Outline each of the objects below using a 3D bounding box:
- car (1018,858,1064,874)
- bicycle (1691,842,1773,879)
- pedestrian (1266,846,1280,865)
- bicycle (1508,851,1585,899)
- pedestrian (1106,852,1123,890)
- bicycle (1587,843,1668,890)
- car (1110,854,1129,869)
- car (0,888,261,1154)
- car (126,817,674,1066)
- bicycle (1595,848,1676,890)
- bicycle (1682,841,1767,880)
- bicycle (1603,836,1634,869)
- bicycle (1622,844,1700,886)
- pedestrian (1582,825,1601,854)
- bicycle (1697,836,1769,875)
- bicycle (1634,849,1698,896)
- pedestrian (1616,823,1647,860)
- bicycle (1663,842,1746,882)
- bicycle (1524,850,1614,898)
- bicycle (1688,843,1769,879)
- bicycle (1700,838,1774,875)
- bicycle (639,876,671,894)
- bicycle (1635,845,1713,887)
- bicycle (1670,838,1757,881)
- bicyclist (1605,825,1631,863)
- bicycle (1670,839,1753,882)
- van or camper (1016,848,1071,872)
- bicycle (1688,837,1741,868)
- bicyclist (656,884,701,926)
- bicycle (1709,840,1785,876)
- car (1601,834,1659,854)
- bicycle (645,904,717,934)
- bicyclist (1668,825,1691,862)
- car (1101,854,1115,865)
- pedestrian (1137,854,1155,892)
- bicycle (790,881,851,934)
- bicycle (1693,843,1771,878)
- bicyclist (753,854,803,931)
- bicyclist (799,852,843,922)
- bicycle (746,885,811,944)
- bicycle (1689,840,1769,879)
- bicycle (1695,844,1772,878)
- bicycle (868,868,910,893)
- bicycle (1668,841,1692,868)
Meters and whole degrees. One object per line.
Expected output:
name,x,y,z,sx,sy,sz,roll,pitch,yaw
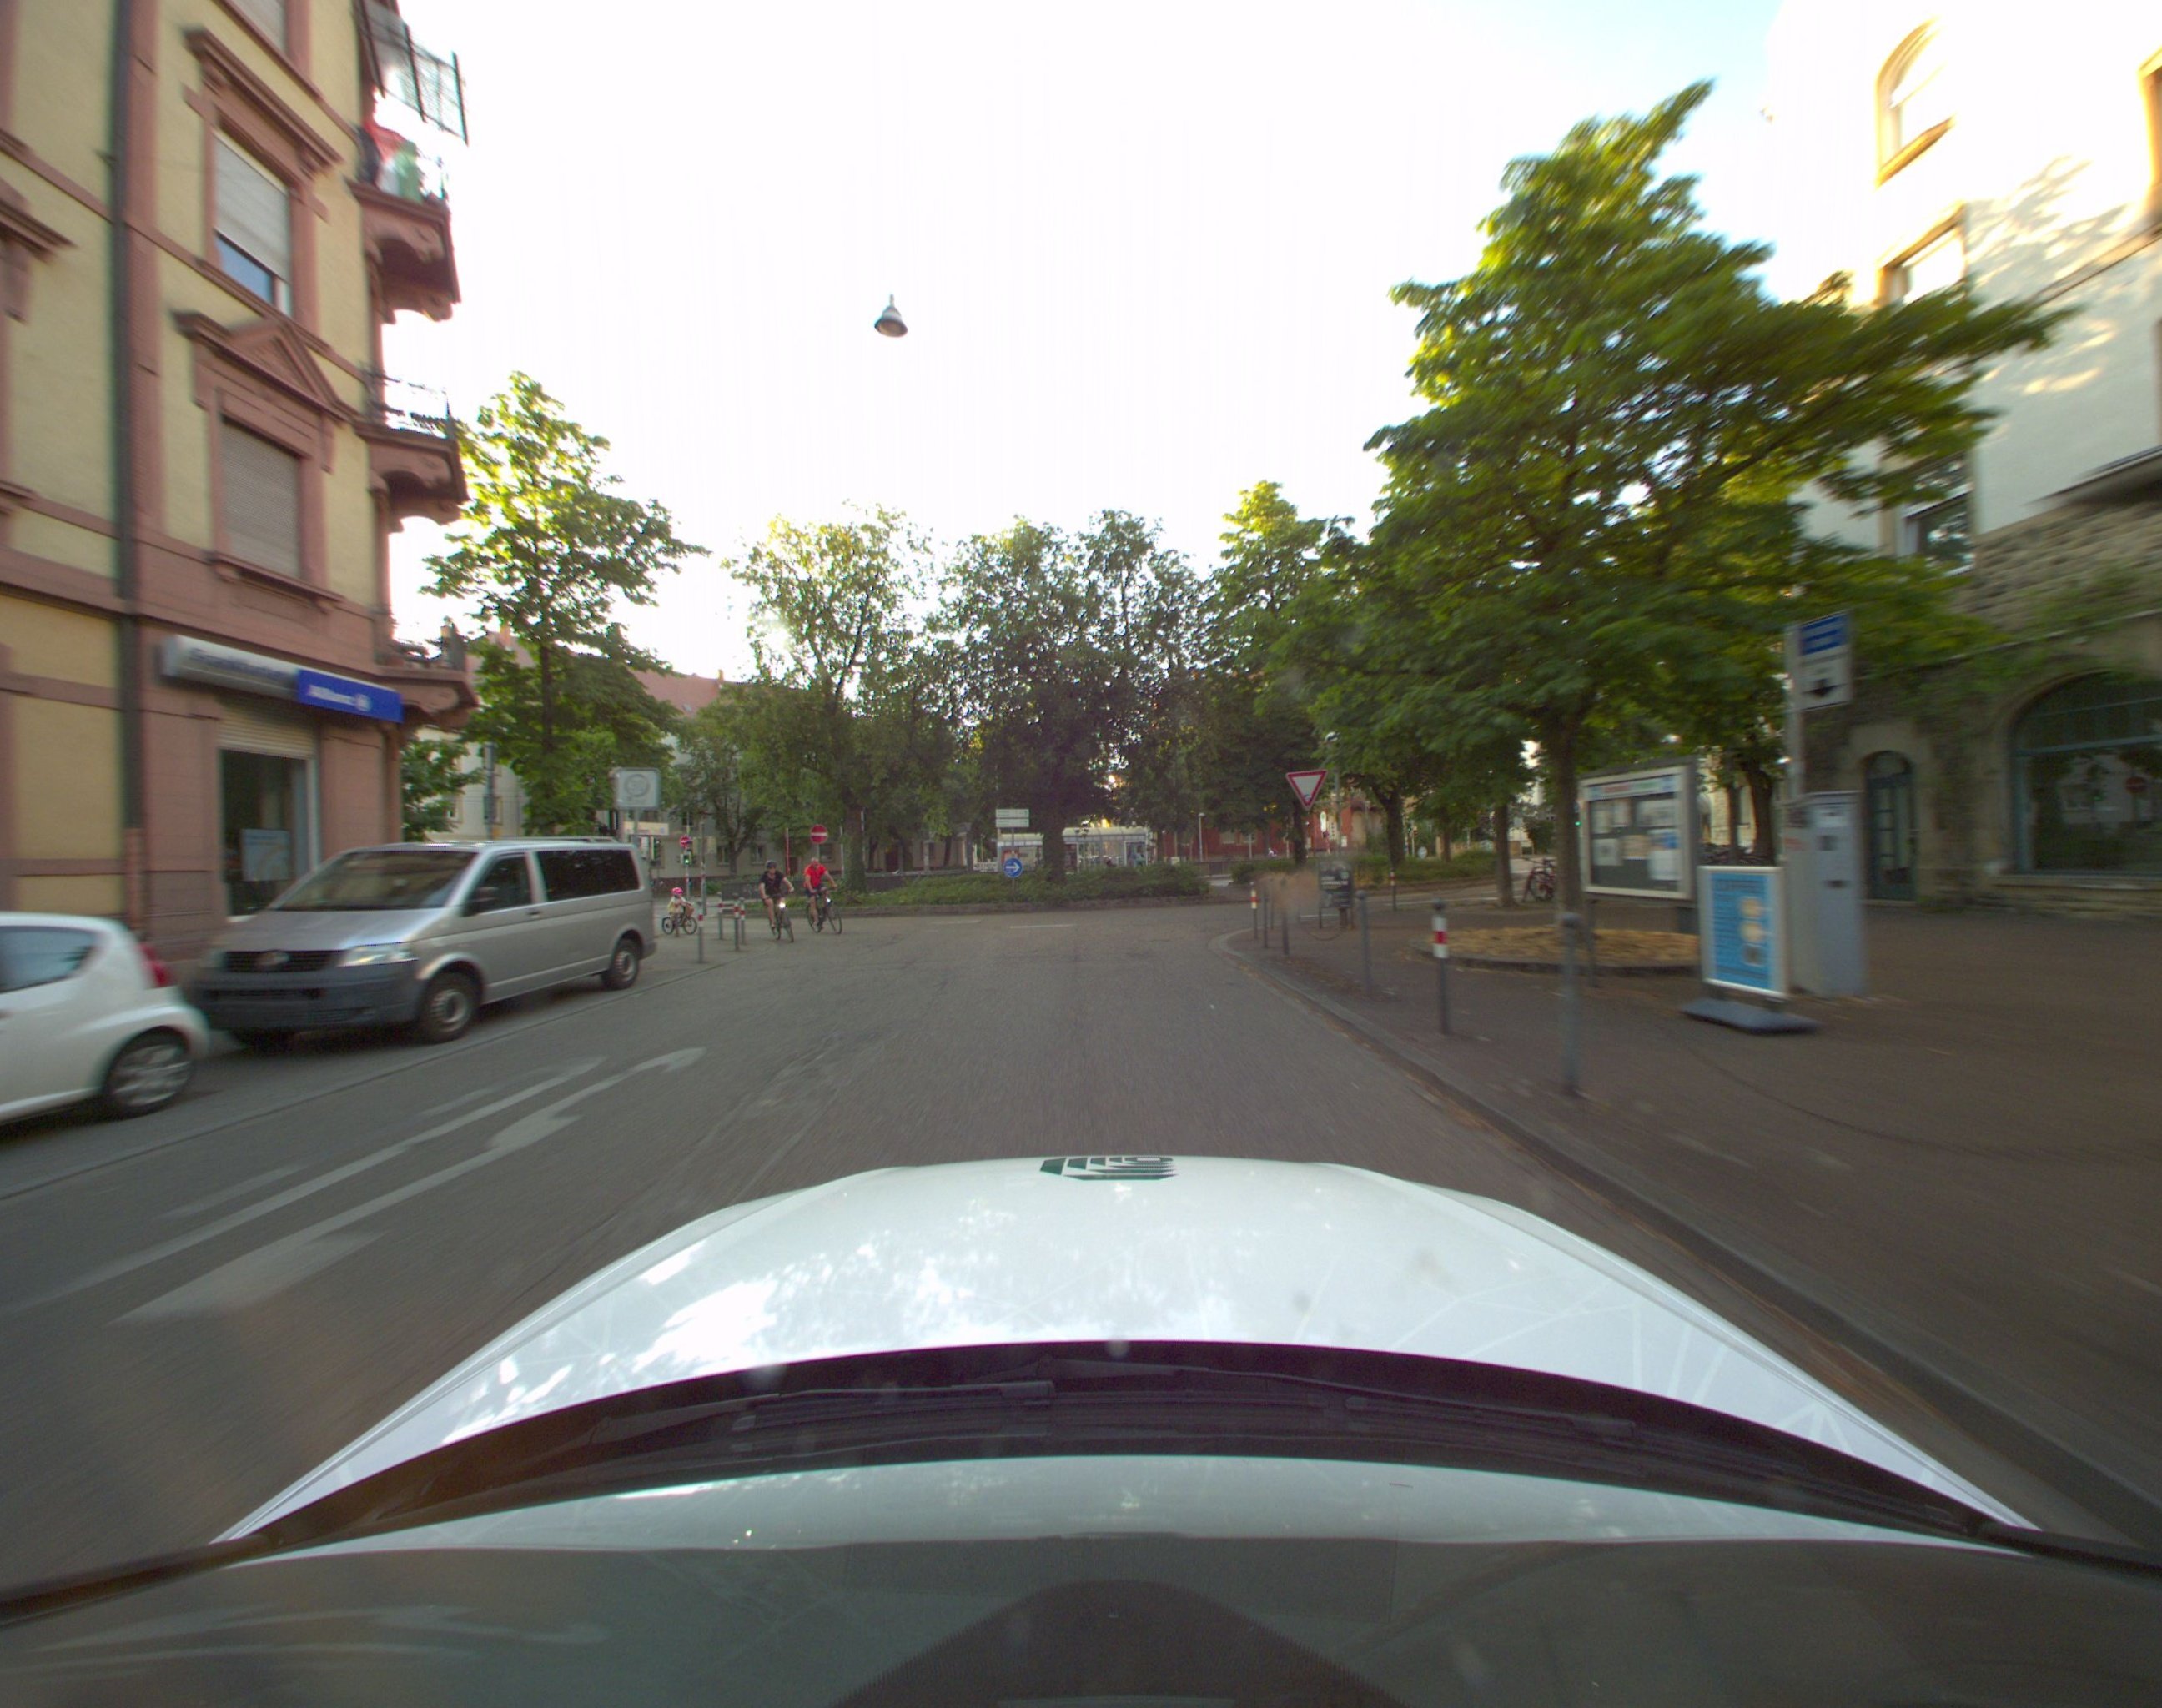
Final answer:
car,-4.335,1.323,88.747,4.942,1.704,1.996,-1,-1,-5
bicycle,20.113,0.215,25.182,0.538,1.061,1.897,-2,-1,-44
pedestrian,15.717,0.149,66.769,0.856,1.526,0.720,-2,0,37
bicycle,10.816,0.481,18.971,0.432,1.039,1.596,-2,-1,-22
pedestrian,1.290,0.669,31.521,0.614,1.431,0.655,-2,0,0
bicycle,13.968,0.333,20.835,0.557,1.148,1.591,-2,-1,-34
car,4.801,0.939,101.299,1.988,1.704,4.716,-1,0,-2
car,-7.174,1.020,4.486,1.679,1.491,3.611,-1,0,-1
car,-6.942,0.731,9.311,2.034,2.057,5.004,-1,0,0
bicycle,14.335,0.392,21.088,0.557,1.020,1.591,-2,-1,-34
bicycle,19.082,0.205,24.192,0.556,1.065,1.897,-2,-1,-44
bicycle,21.342,-0.085,32.334,0.691,1.236,1.874,-3,0,42
bicycle,15.213,0.300,21.403,0.421,1.063,1.589,-2,-1,-38
pedestrian,33.221,-0.936,52.957,0.859,1.794,0.930,-3,0,39
bicycle,22.255,0.068,27.836,1.861,1.217,0.495,-3,-7,45
bicycle,13.165,0.403,18.305,1.731,0.969,0.428,-2,-1,-29
pedestrian,31.993,-0.739,47.327,1.062,2.085,1.006,-3,0,-24
bicycle,17.608,0.247,23.016,0.450,1.063,1.775,-2,-1,-42
bicycle,11.259,0.462,18.862,0.432,1.039,1.885,-2,0,-21
bicycle,19.498,0.229,24.560,0.421,1.014,1.833,-2,-1,-41
bicycle,21.704,0.099,26.975,1.832,1.144,0.421,-3,-1,45
bicycle,-31.010,2.247,59.302,0.677,1.151,1.932,-2,0,33
bicycle,15.626,0.323,21.491,0.421,1.076,1.589,-2,-1,-38
bicycle,18.451,0.166,23.789,0.556,1.200,1.897,-2,-1,-44
bicyclist,21.326,-0.394,32.329,0.691,1.461,0.789,-3,-1,42
bicycle,17.957,0.188,23.236,0.450,1.168,1.775,-2,-1,-42
van or camper,-5.163,0.786,111.431,7.354,3.083,2.668,-1,-1,-5
bicycle,25.827,-0.051,33.219,1.653,1.127,0.490,-3,6,35
bicyclist,-9.988,1.262,20.214,0.724,0.977,0.650,-2,0,7
bicycle,22.222,0.138,27.205,1.833,1.104,0.577,-3,-1,21
car,47.730,-0.853,70.790,4.419,1.510,1.938,-2,0,-19
bicycle,-9.919,1.616,20.203,1.451,0.642,0.653,-2,0,7
bicyclist,25.609,-0.454,34.829,0.700,1.502,0.925,-2,0,39
car,4.485,0.925,136.880,1.988,1.704,4.716,-1,0,-2
pedestrian,2.545,0.735,31.916,0.614,1.431,0.655,-2,0,0
bicycle,-5.959,1.181,18.544,0.655,1.107,1.992,-2,0,-37
bicycle,20.420,0.212,25.565,1.832,1.051,0.421,-3,-1,45
bicyclist,-6.340,0.792,17.049,0.719,1.526,0.857,-2,0,-37
bicyclist,-5.894,0.729,18.440,0.657,1.526,0.857,-2,0,-37
bicycle,-6.374,1.233,17.115,0.726,1.107,1.992,-2,0,-36
bicycle,19.713,0.186,24.808,0.421,1.116,1.833,-2,-1,-41
bicycle,20.621,0.227,25.780,1.832,0.999,0.421,-3,-1,45
bicycle,-8.959,1.222,38.022,1.857,1.051,0.542,-2,0,-23
bicycle,25.617,0.006,34.824,0.700,1.070,1.846,-2,0,39
